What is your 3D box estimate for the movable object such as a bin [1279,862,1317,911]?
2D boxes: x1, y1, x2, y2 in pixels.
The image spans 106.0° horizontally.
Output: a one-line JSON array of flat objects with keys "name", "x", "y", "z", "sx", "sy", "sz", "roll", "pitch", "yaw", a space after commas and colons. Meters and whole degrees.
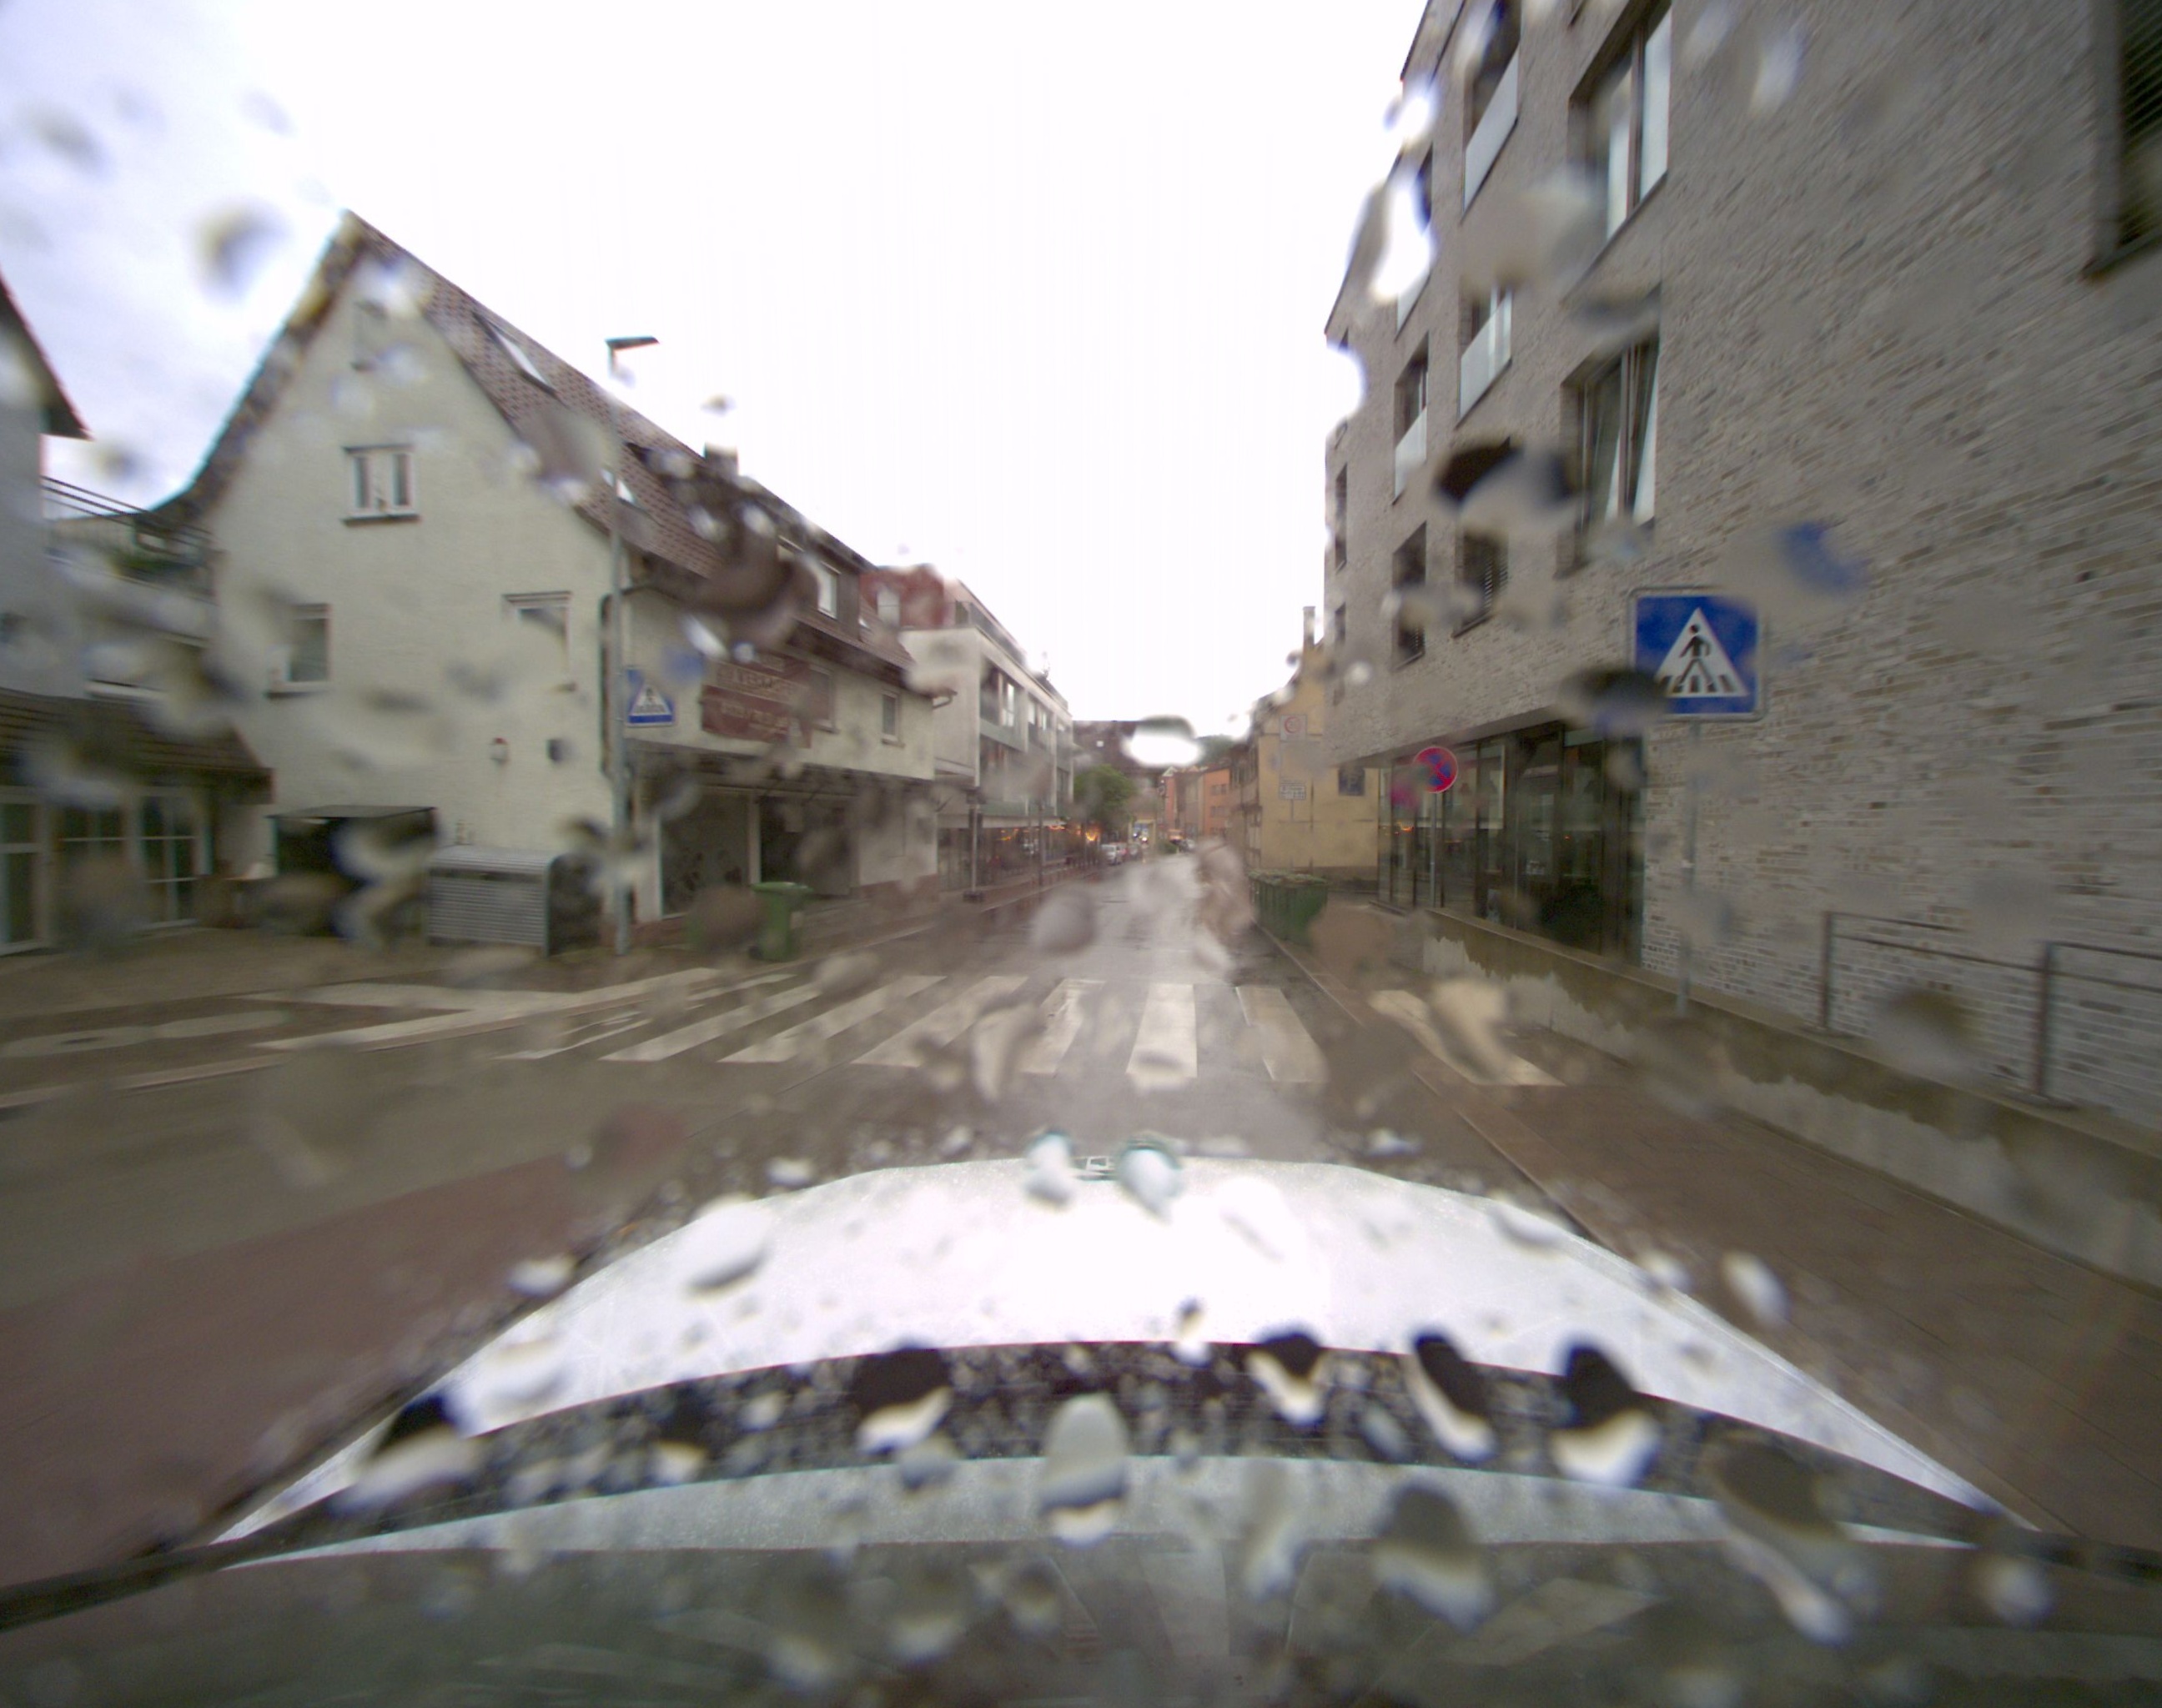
[{"name": "movable object such as a bin", "x": 5.028, "y": 0.756, "z": 18.907, "sx": 0.762, "sy": 1.095, "sz": 0.628, "roll": -1, "pitch": 0, "yaw": 6}]

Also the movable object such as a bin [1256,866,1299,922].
[{"name": "movable object such as a bin", "x": 3.992, "y": 0.800, "z": 16.553, "sx": 0.762, "sy": 1.095, "sz": 0.582, "roll": -1, "pitch": 0, "yaw": 6}]

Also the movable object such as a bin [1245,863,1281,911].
[{"name": "movable object such as a bin", "x": 4.360, "y": 0.784, "z": 19.554, "sx": 0.762, "sy": 1.095, "sz": 0.582, "roll": -1, "pitch": 0, "yaw": 6}]

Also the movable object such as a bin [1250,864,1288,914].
[{"name": "movable object such as a bin", "x": 4.228, "y": 0.782, "z": 18.366, "sx": 0.762, "sy": 1.095, "sz": 0.582, "roll": -1, "pitch": 0, "yaw": 6}]

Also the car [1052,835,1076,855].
[{"name": "car", "x": -1.775, "y": -0.945, "z": 85.133, "sx": 1.802, "sy": 1.616, "sz": 4.013, "roll": 0, "pitch": 7, "yaw": 8}]

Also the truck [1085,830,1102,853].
[{"name": "truck", "x": 1.315, "y": -1.339, "z": 85.901, "sx": 1.590, "sy": 2.062, "sz": 3.198, "roll": -2, "pitch": 5, "yaw": 4}]

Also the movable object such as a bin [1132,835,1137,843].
[{"name": "movable object such as a bin", "x": 8.954, "y": -2.557, "z": 136.760, "sx": 0.832, "sy": 1.382, "sz": 0.853, "roll": 0, "pitch": 1, "yaw": -3}]

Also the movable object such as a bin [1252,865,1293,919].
[{"name": "movable object such as a bin", "x": 4.022, "y": 0.787, "z": 17.164, "sx": 0.762, "sy": 1.095, "sz": 0.582, "roll": -1, "pitch": 0, "yaw": 6}]

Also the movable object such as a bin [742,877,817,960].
[{"name": "movable object such as a bin", "x": -4.201, "y": 0.883, "z": 11.402, "sx": 0.684, "sy": 1.081, "sz": 0.762, "roll": 2, "pitch": 0, "yaw": 5}]

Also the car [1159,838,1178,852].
[{"name": "car", "x": 9.984, "y": -1.074, "z": 92.968, "sx": 1.709, "sy": 1.458, "sz": 3.909, "roll": 1, "pitch": 2, "yaw": -1}]

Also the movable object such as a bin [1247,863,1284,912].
[{"name": "movable object such as a bin", "x": 4.294, "y": 0.780, "z": 18.956, "sx": 0.762, "sy": 1.095, "sz": 0.582, "roll": -1, "pitch": 0, "yaw": 6}]

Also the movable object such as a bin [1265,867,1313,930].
[{"name": "movable object such as a bin", "x": 3.768, "y": 0.800, "z": 14.773, "sx": 0.762, "sy": 1.095, "sz": 0.582, "roll": -1, "pitch": 0, "yaw": 6}]

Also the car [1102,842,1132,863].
[{"name": "car", "x": 2.896, "y": -0.124, "z": 65.061, "sx": 1.775, "sy": 1.576, "sz": 4.120, "roll": 0, "pitch": 1, "yaw": 11}]

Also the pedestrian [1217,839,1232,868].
[{"name": "pedestrian", "x": 9.450, "y": -0.054, "z": 53.585, "sx": 0.806, "sy": 1.885, "sz": 0.909, "roll": -2, "pitch": 1, "yaw": 4}]

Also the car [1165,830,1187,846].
[{"name": "car", "x": 13.683, "y": -2.331, "z": 118.077, "sx": 2.101, "sy": 2.146, "sz": 4.857, "roll": -2, "pitch": 1, "yaw": -6}]

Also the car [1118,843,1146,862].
[{"name": "car", "x": 4.439, "y": -0.168, "z": 69.890, "sx": 1.702, "sy": 1.458, "sz": 3.925, "roll": 1, "pitch": 2, "yaw": 13}]

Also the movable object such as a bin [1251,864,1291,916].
[{"name": "movable object such as a bin", "x": 4.130, "y": 0.781, "z": 17.751, "sx": 0.762, "sy": 1.095, "sz": 0.582, "roll": -1, "pitch": 0, "yaw": 6}]

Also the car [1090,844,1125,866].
[{"name": "car", "x": 1.979, "y": 0.019, "z": 59.468, "sx": 1.775, "sy": 1.498, "sz": 4.469, "roll": 0, "pitch": 1, "yaw": 11}]

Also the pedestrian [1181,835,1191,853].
[{"name": "pedestrian", "x": 11.467, "y": -1.062, "z": 88.810, "sx": 0.853, "sy": 1.914, "sz": 0.763, "roll": 1, "pitch": 1, "yaw": 30}]

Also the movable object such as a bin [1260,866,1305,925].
[{"name": "movable object such as a bin", "x": 3.937, "y": 0.802, "z": 15.955, "sx": 0.762, "sy": 1.095, "sz": 0.582, "roll": -1, "pitch": 0, "yaw": 6}]

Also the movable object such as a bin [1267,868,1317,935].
[{"name": "movable object such as a bin", "x": 3.649, "y": 0.814, "z": 14.138, "sx": 0.736, "sy": 1.095, "sz": 0.658, "roll": -1, "pitch": 0, "yaw": 5}]

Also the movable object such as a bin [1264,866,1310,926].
[{"name": "movable object such as a bin", "x": 3.877, "y": 0.786, "z": 15.370, "sx": 0.762, "sy": 1.095, "sz": 0.582, "roll": -1, "pitch": 0, "yaw": 6}]

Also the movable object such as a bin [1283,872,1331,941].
[{"name": "movable object such as a bin", "x": 3.733, "y": 0.858, "z": 13.507, "sx": 0.660, "sy": 1.095, "sz": 0.552, "roll": -1, "pitch": 0, "yaw": 4}]

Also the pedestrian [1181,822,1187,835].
[{"name": "pedestrian", "x": 16.386, "y": -4.052, "z": 129.882, "sx": 0.864, "sy": 2.013, "sz": 0.707, "roll": 0, "pitch": 1, "yaw": -2}]
